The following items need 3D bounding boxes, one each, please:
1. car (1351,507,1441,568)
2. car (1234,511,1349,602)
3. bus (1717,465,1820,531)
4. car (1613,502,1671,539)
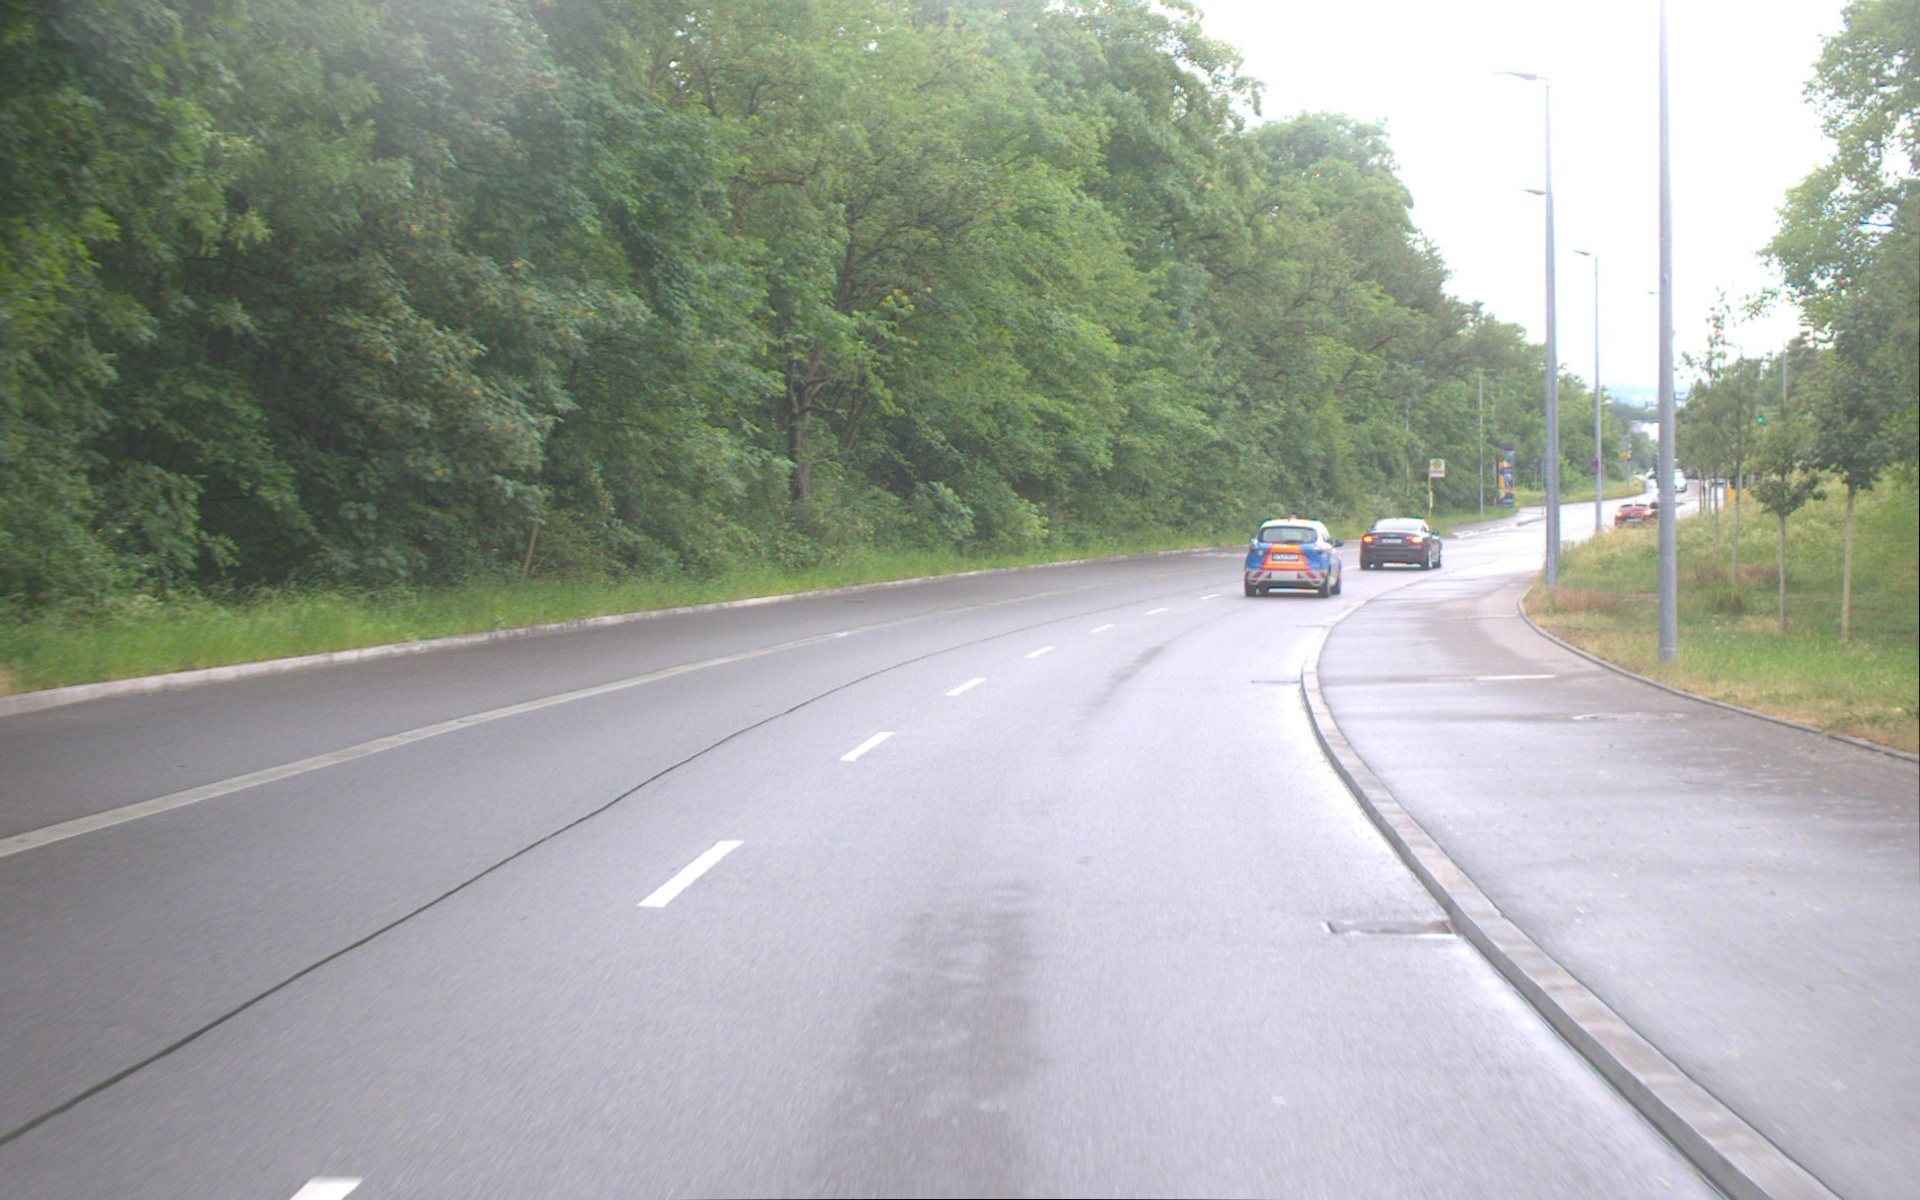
[{"bbox_3d":[11.754,-1.696,92.579,1.928,1.481,3.797,-1,3,14],"label":"car"},{"bbox_3d":[6.854,-0.915,70.821,1.994,1.683,3.999,-1,3,10],"label":"car"},{"bbox_3d":[39.624,-4.986,168.249,2.821,3.132,9.167,1,2,26],"label":"bus"},{"bbox_3d":[29.602,-3.472,149.192,1.995,1.546,3.997,1,2,18],"label":"car"}]
